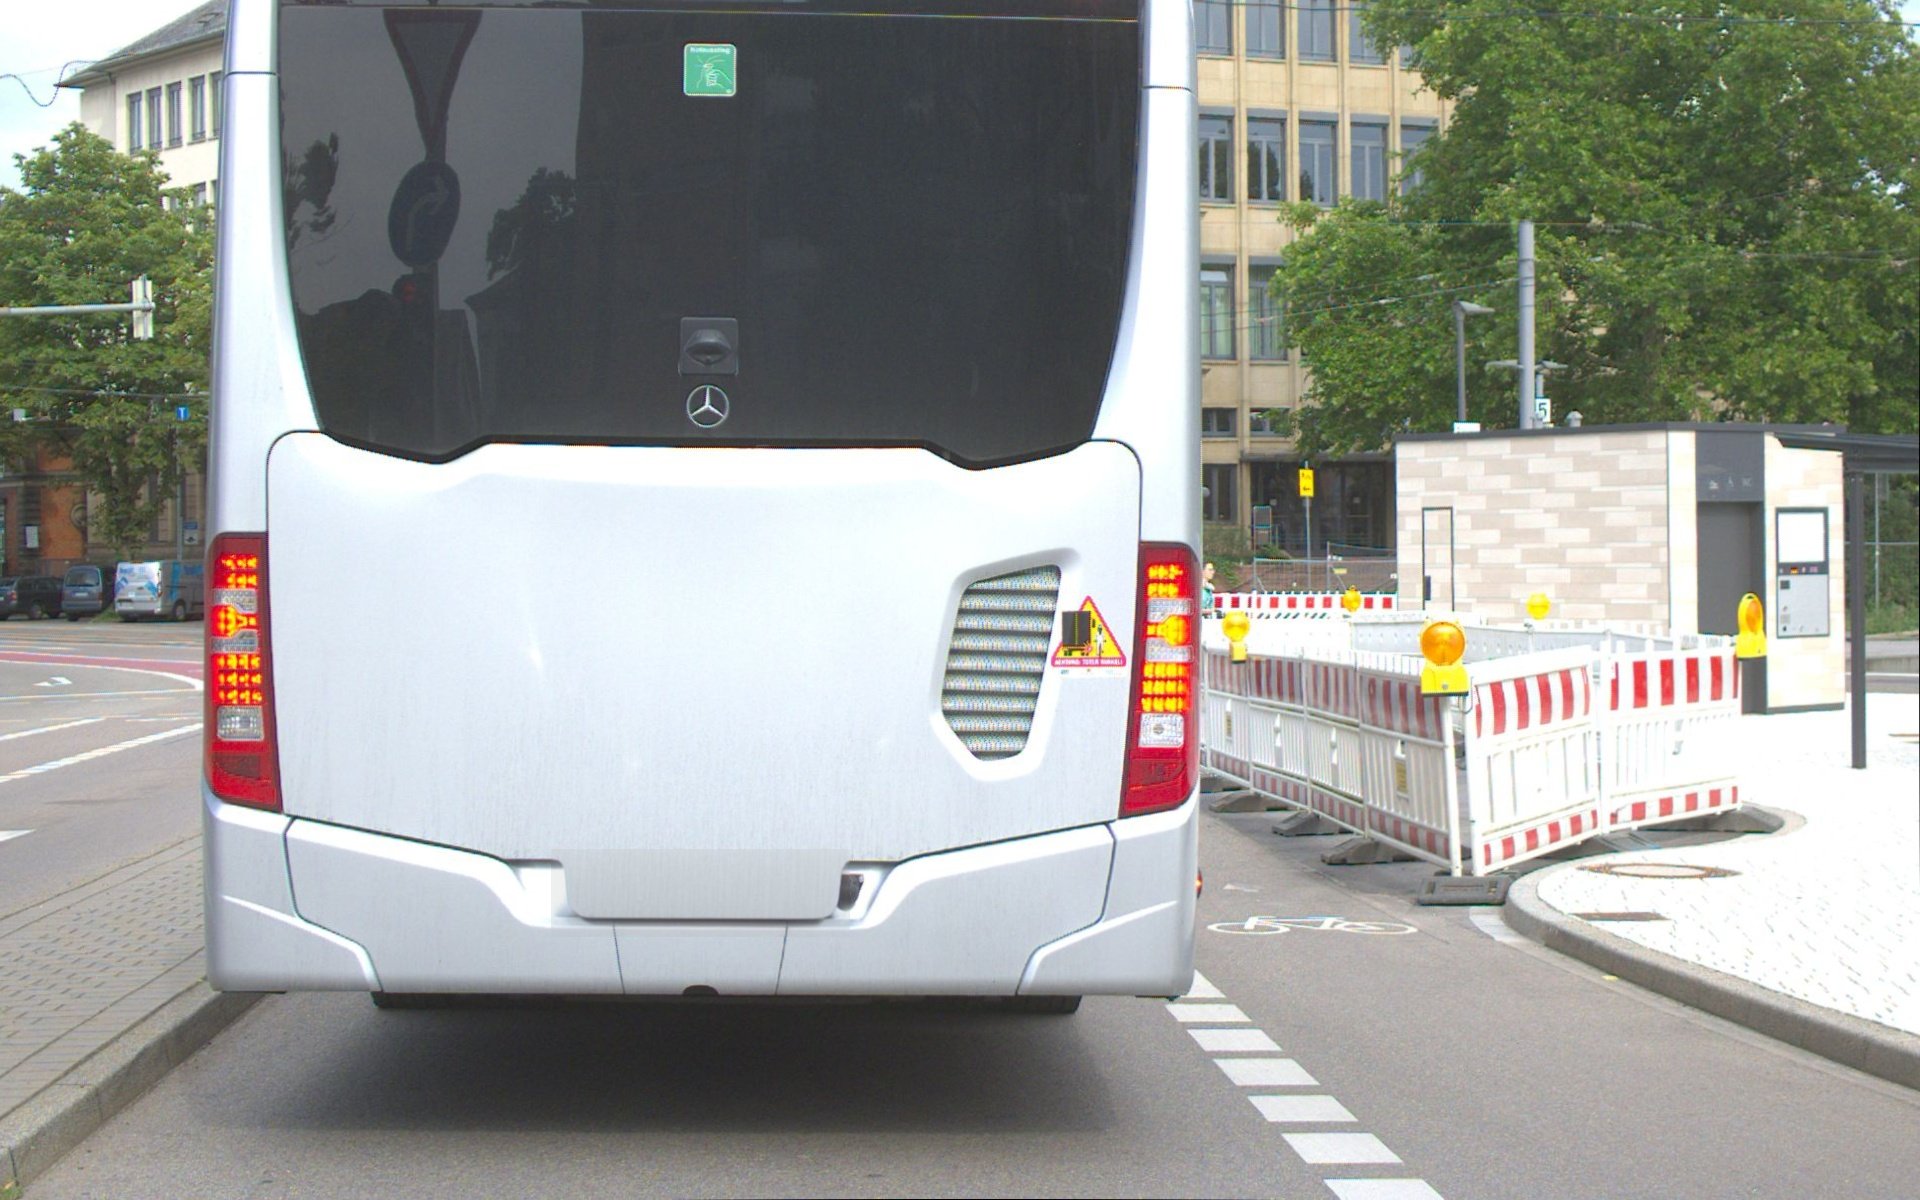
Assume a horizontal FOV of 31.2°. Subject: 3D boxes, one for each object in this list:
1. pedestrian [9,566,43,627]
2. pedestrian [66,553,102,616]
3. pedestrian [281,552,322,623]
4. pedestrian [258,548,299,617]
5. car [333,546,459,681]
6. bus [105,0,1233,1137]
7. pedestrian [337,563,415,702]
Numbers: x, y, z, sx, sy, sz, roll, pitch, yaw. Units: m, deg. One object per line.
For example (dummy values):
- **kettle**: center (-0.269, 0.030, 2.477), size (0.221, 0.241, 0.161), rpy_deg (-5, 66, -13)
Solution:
- **pedestrian**: center (-31.332, -0.118, 115.323), size (0.887, 2.007, 1.009), rpy_deg (-1, 1, -29)
- **pedestrian**: center (-28.350, -0.510, 111.289), size (0.887, 2.007, 1.009), rpy_deg (-1, 1, -29)
- **pedestrian**: center (-18.657, -0.367, 97.393), size (0.887, 2.007, 1.009), rpy_deg (-1, 1, -29)
- **pedestrian**: center (-19.924, -0.525, 100.474), size (0.887, 2.007, 1.009), rpy_deg (-1, 1, -29)
- **car**: center (-9.444, 0.185, 57.554), size (1.993, 2.006, 4.002), rpy_deg (-1, 3, -9)
- **bus**: center (-1.275, -0.446, 15.356), size (2.704, 3.426, 14.186), rpy_deg (0, 0, -5)
- **pedestrian**: center (-7.388, 0.402, 43.515), size (0.797, 1.705, 0.840), rpy_deg (0, 3, 2)
